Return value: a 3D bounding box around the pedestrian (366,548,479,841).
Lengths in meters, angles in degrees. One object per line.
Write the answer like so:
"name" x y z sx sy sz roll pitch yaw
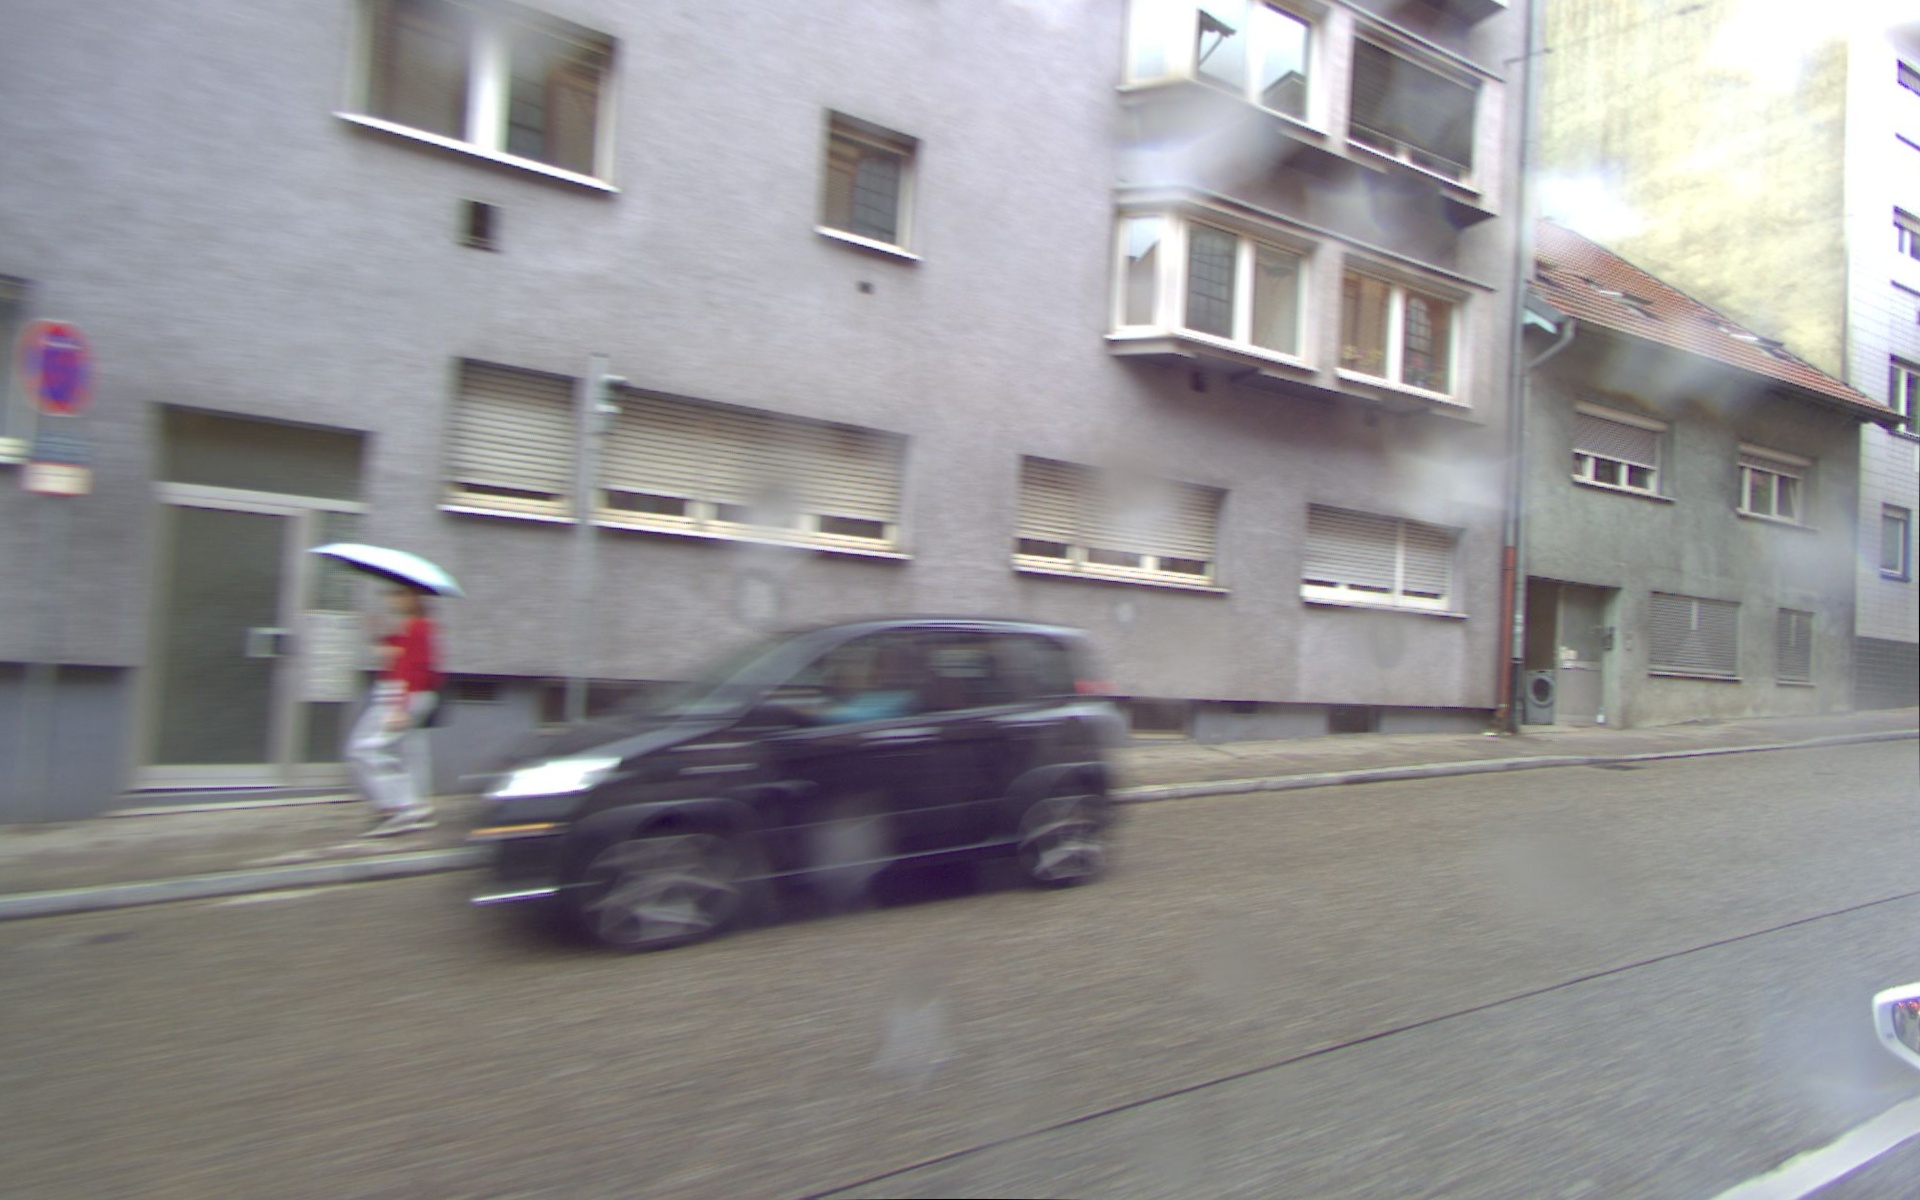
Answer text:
"pedestrian" -3.504 0.586 6.543 0.615 1.799 0.520 1 -1 -31

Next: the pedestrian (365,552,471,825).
"pedestrian" -3.780 0.592 7.002 0.615 1.799 0.520 1 -1 -31

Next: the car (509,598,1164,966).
"car" -0.655 0.820 5.717 3.337 1.516 1.637 2 -3 -30
